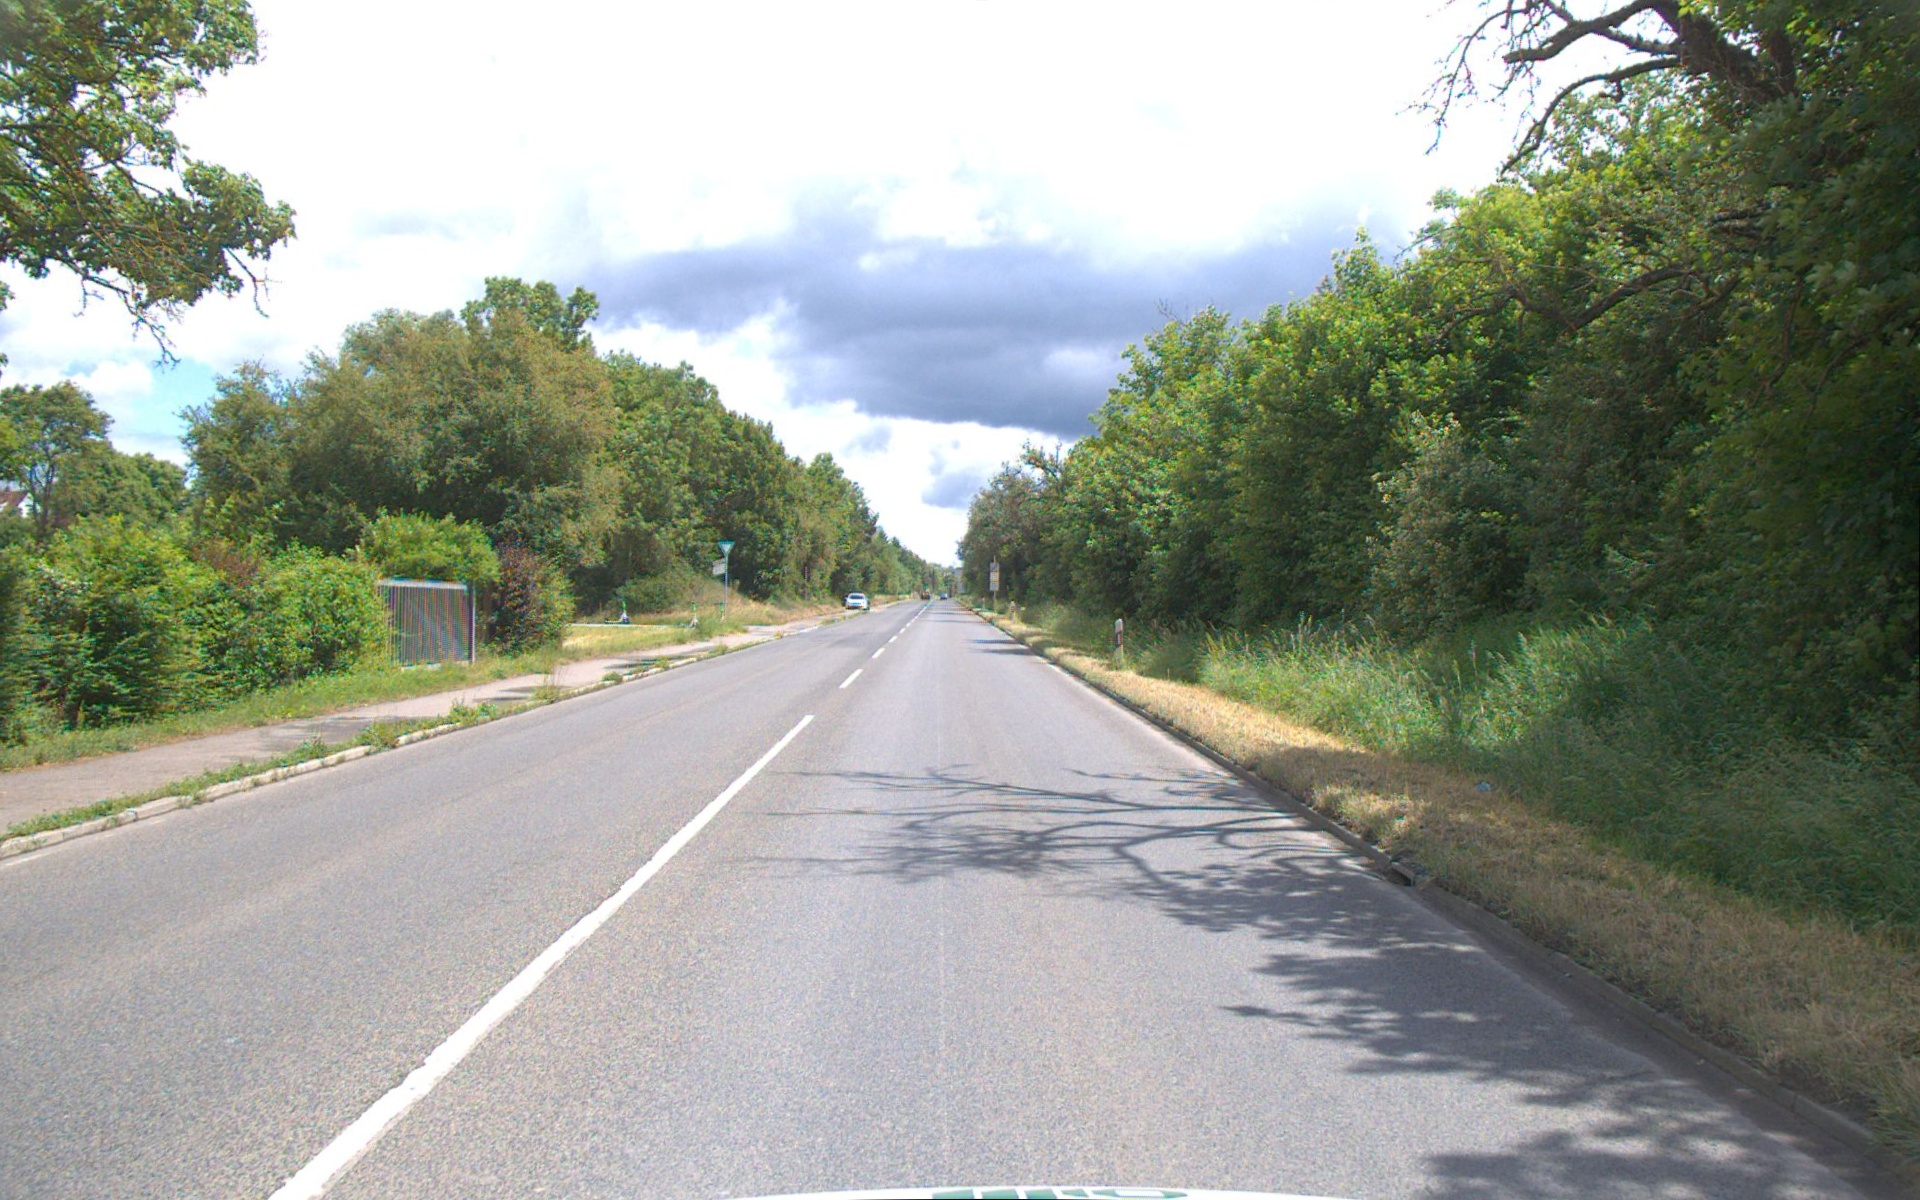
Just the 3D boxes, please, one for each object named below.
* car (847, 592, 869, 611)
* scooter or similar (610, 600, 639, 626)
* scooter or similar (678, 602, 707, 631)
[{"bbox_3d":[-8.844,0.180,143.525,1.761,1.570,3.954,0,-1,-1],"label":"car"},{"bbox_3d":[-15.385,0.603,75.798,1.217,1.189,0.407,1,0,12],"label":"scooter or similar"},{"bbox_3d":[-11.124,0.686,68.792,1.326,1.189,0.405,1,0,40],"label":"scooter or similar"}]
